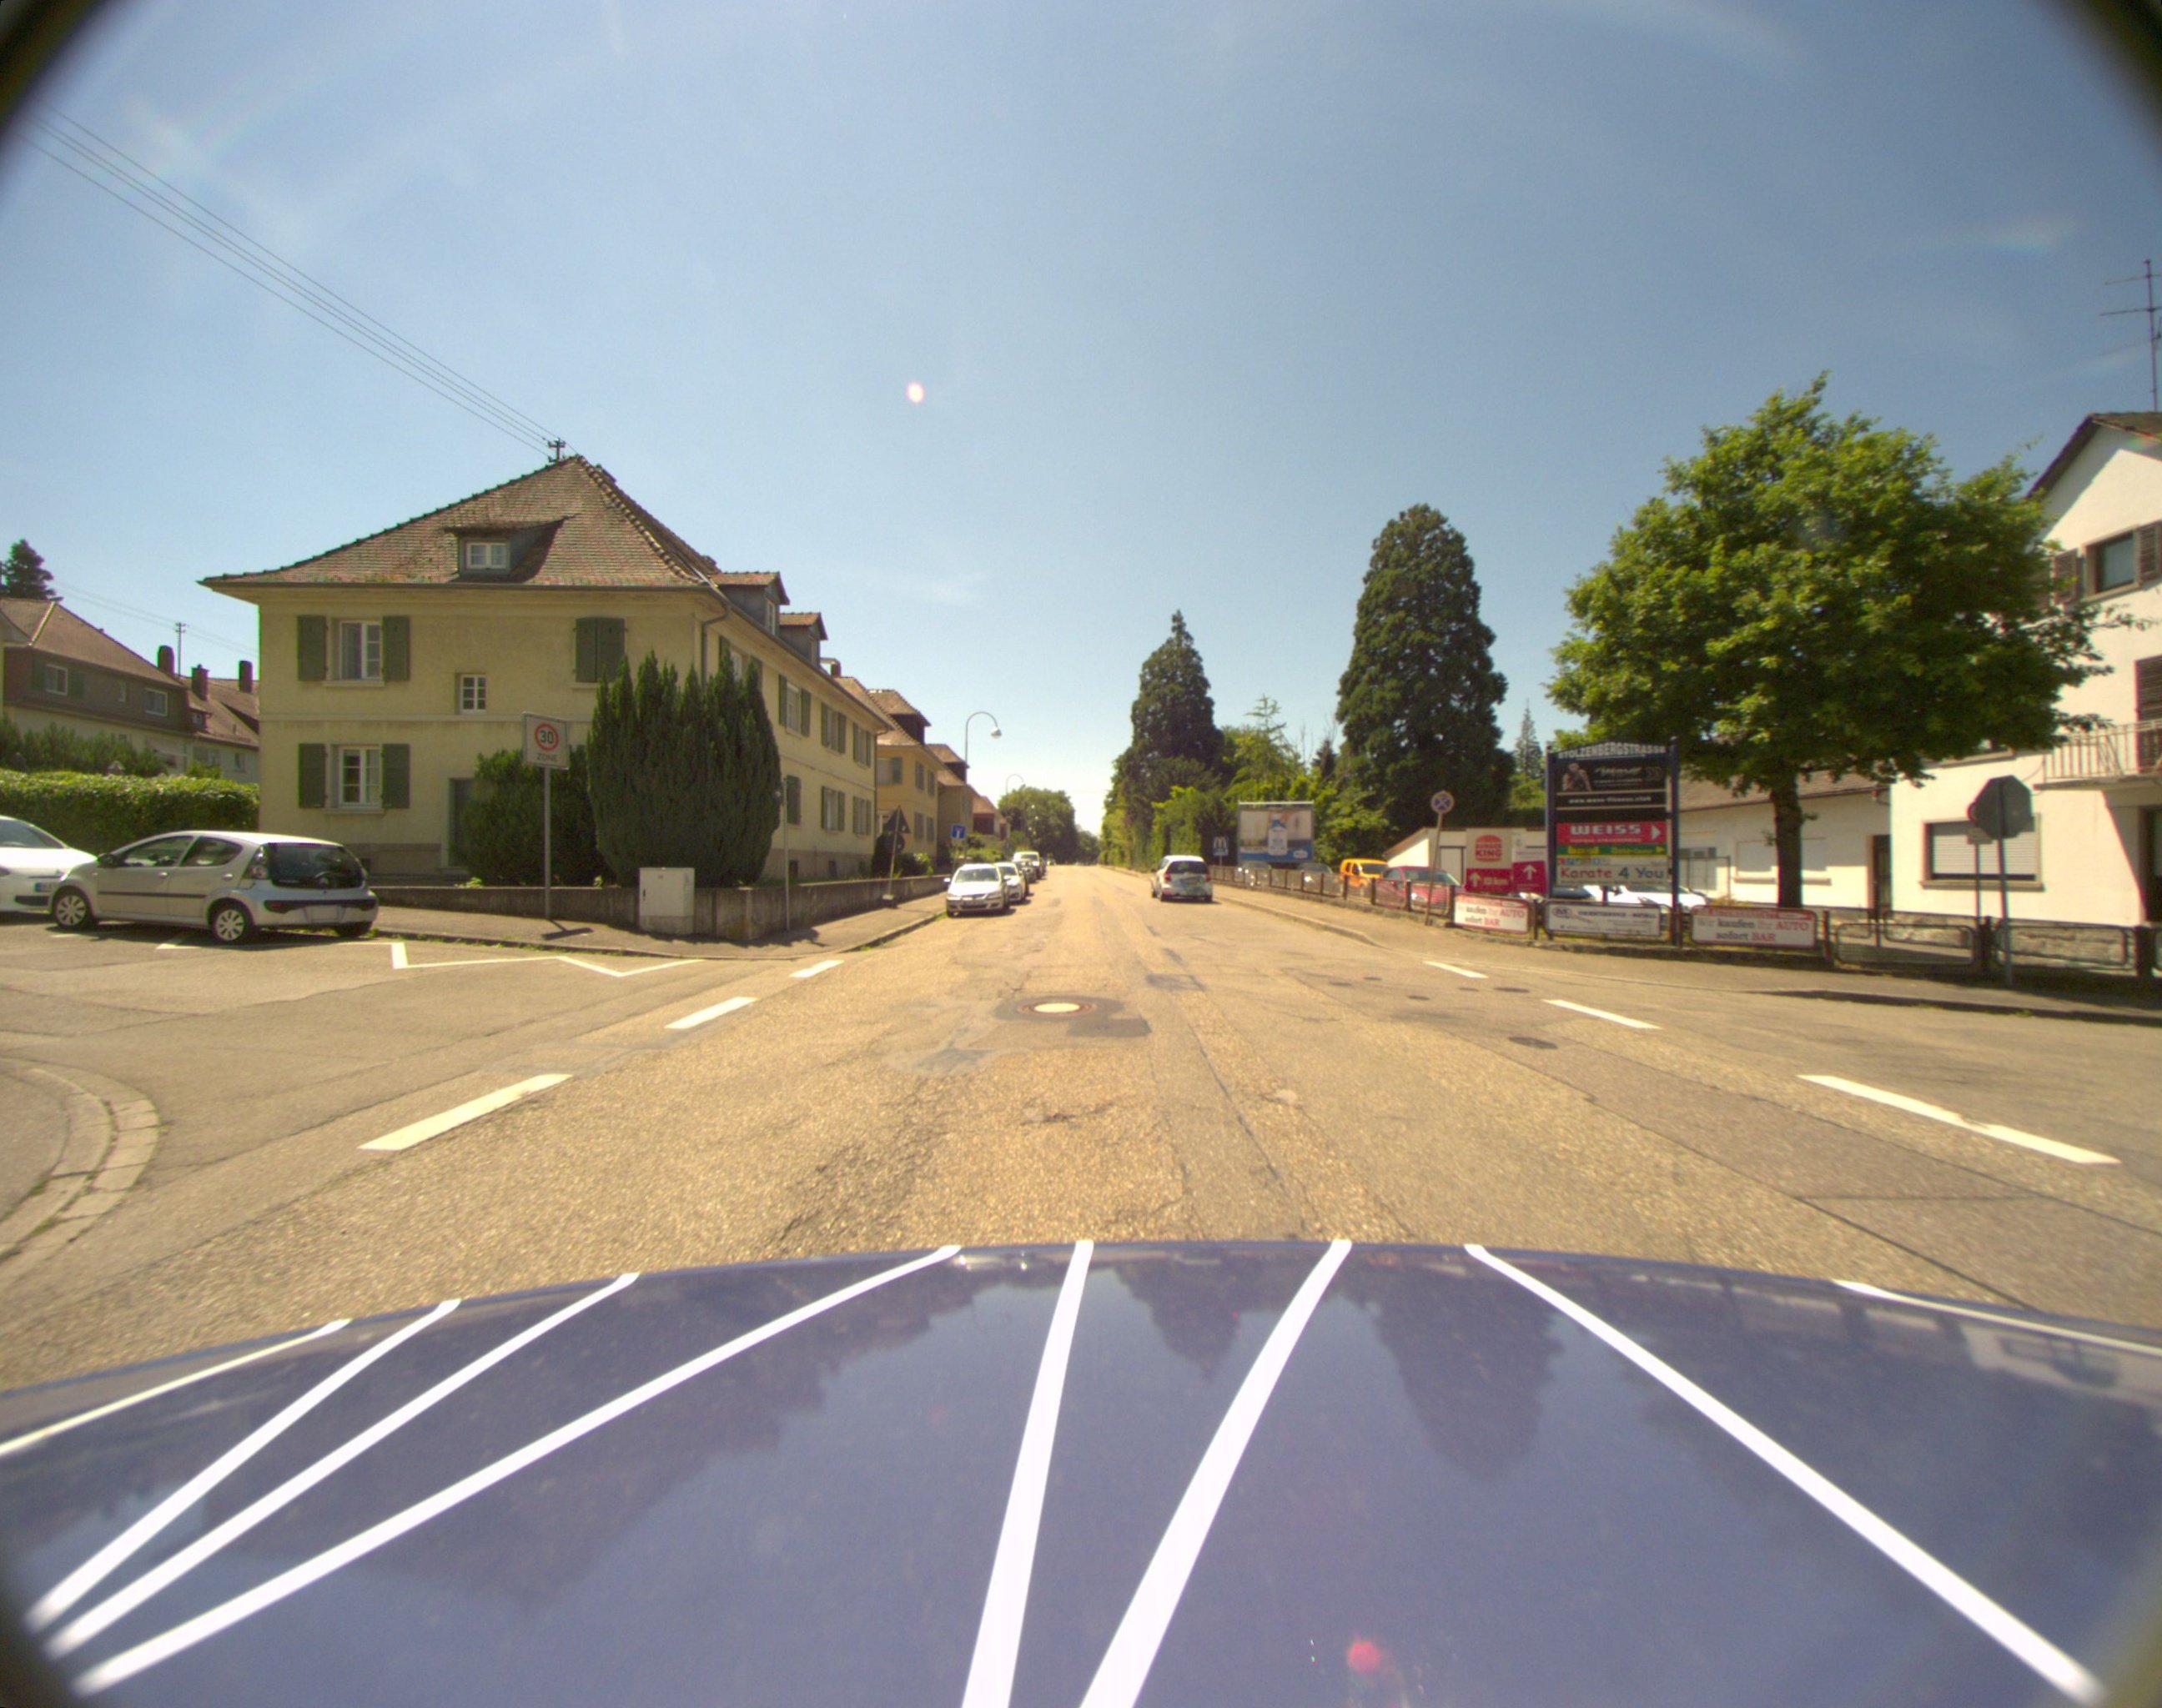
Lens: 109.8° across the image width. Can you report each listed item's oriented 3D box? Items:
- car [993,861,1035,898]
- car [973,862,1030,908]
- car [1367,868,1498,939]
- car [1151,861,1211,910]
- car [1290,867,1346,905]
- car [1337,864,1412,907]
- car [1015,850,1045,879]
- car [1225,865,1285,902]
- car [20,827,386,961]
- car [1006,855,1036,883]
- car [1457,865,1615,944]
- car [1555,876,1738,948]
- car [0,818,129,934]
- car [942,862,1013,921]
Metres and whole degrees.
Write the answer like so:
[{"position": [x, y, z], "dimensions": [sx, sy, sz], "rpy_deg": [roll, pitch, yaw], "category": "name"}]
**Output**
[{"position": [-2.828, 1.060, 32.651], "dimensions": [1.600, 1.422, 3.999], "rpy_deg": [-2, 0, -3], "category": "car"}, {"position": [-2.773, 1.045, 27.223], "dimensions": [1.671, 1.427, 3.999], "rpy_deg": [-2, 0, -2], "category": "car"}, {"position": [8.824, 1.179, 19.463], "dimensions": [1.798, 1.509, 4.002], "rpy_deg": [1, 0, 6], "category": "car"}, {"position": [3.491, 1.077, 27.192], "dimensions": [1.656, 1.553, 3.885], "rpy_deg": [1, 0, 1], "category": "car"}, {"position": [11.175, 1.451, 36.086], "dimensions": [1.797, 1.509, 4.002], "rpy_deg": [2, 1, 7], "category": "car"}, {"position": [13.584, 1.399, 35.384], "dimensions": [1.799, 1.732, 3.998], "rpy_deg": [1, 1, -1], "category": "car"}, {"position": [-3.511, 0.662, 52.900], "dimensions": [1.852, 1.858, 4.690], "rpy_deg": [-2, 0, -2], "category": "car"}, {"position": [8.223, 1.345, 36.186], "dimensions": [1.799, 1.509, 3.998], "rpy_deg": [1, 1, -1], "category": "car"}, {"position": [-12.124, 0.506, 10.625], "dimensions": [3.412, 1.444, 1.613], "rpy_deg": [5, 0, 6], "category": "car"}, {"position": [-3.628, 0.868, 46.594], "dimensions": [1.600, 1.495, 3.998], "rpy_deg": [-4, 1, -3], "category": "car"}, {"position": [11.389, 1.166, 19.435], "dimensions": [1.797, 1.668, 4.627], "rpy_deg": [1, 0, 9], "category": "car"}, {"position": [13.718, 1.334, 18.771], "dimensions": [1.798, 1.425, 4.002], "rpy_deg": [1, 0, 6], "category": "car"}, {"position": [-15.958, 0.203, 10.576], "dimensions": [3.509, 1.444, 1.613], "rpy_deg": [5, 0, 4], "category": "car"}, {"position": [-2.961, 1.030, 22.490], "dimensions": [1.671, 1.457, 3.998], "rpy_deg": [-2, 1, -2], "category": "car"}]
